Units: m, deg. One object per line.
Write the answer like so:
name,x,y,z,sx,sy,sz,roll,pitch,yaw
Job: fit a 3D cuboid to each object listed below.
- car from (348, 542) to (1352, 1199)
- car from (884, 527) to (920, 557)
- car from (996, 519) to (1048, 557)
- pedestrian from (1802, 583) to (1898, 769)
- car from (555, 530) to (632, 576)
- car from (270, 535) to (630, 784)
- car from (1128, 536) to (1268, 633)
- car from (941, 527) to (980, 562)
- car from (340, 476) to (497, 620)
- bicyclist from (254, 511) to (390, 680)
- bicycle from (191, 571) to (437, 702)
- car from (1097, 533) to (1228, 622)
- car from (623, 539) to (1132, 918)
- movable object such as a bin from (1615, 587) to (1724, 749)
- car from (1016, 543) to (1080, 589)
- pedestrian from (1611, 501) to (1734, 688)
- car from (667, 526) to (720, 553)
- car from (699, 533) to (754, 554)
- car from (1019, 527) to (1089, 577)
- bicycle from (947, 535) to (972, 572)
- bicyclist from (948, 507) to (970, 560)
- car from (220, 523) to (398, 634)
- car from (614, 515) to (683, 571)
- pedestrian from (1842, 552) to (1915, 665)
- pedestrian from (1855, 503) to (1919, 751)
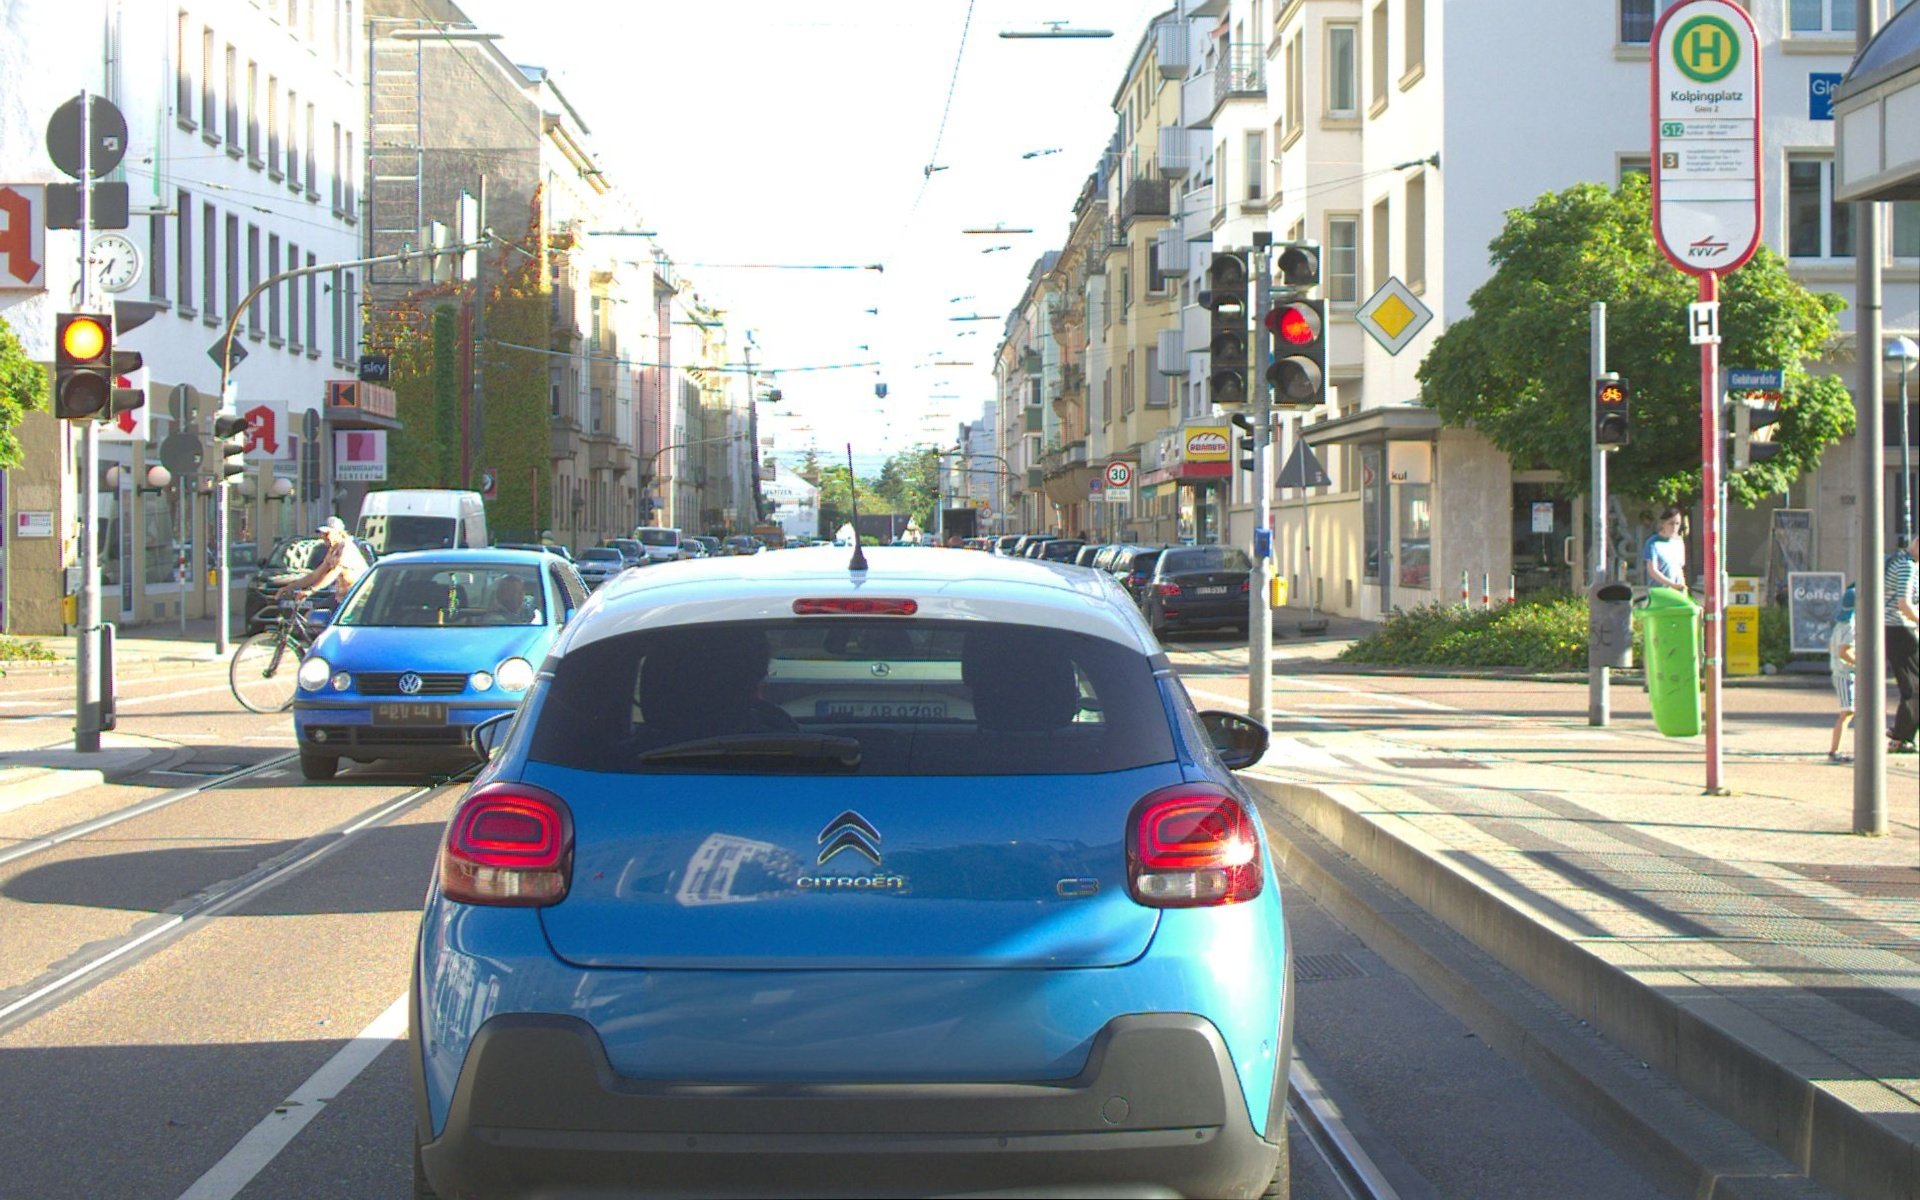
car,-0.221,0.626,7.908,1.728,1.477,3.827,1,1,-1
car,-3.544,-3.530,209.546,1.993,1.772,4.001,0,1,-4
car,2.417,-2.427,134.587,1.993,1.459,4.000,0,1,0
pedestrian,5.970,0.502,23.071,0.558,1.221,0.526,1,0,10
car,-11.159,-1.427,104.893,1.993,1.320,3.923,1,1,-2
car,-3.290,0.325,22.876,1.667,1.482,4.000,1,1,2
car,3.690,-0.263,53.884,1.909,1.459,4.000,0,1,0
car,0.015,-2.862,175.697,1.993,1.766,4.000,0,1,-1
car,-10.052,-0.981,64.285,2.085,2.533,6.206,1,1,-2
bicyclist,-5.574,-0.041,30.023,0.874,1.450,0.830,1,0,-34
bicycle,-5.627,0.309,29.989,1.970,1.109,0.730,0,1,-34
car,3.394,-0.404,58.302,1.993,1.459,4.000,0,1,0
car,-0.358,0.467,15.987,1.984,1.459,4.816,1,1,-1
movable object such as a bin,3.503,0.330,16.989,0.449,0.783,0.489,0,1,2
car,2.843,-1.117,111.362,1.993,1.459,4.000,0,1,0
pedestrian,7.278,-0.055,35.159,0.981,1.871,1.129,0,0,-3
car,-11.768,-2.680,151.939,1.993,1.152,4.000,0,1,0
car,-12.643,-3.070,186.476,1.994,1.152,4.513,0,1,9
car,2.801,-1.459,103.629,1.993,1.459,4.504,0,1,0
bicycle,-0.025,-1.795,131.212,0.920,1.384,3.132,0,1,0
bicyclist,-0.045,-2.541,131.362,0.809,2.007,0.922,1,0,-1
car,-10.150,-0.338,53.932,1.993,1.563,4.403,3,0,-2
car,-11.614,-2.110,128.461,2.006,2.007,4.689,1,1,1
pedestrian,10.809,0.094,40.470,0.741,1.311,0.627,1,1,23
pedestrian,6.688,0.187,24.423,0.558,1.739,0.526,1,0,10
